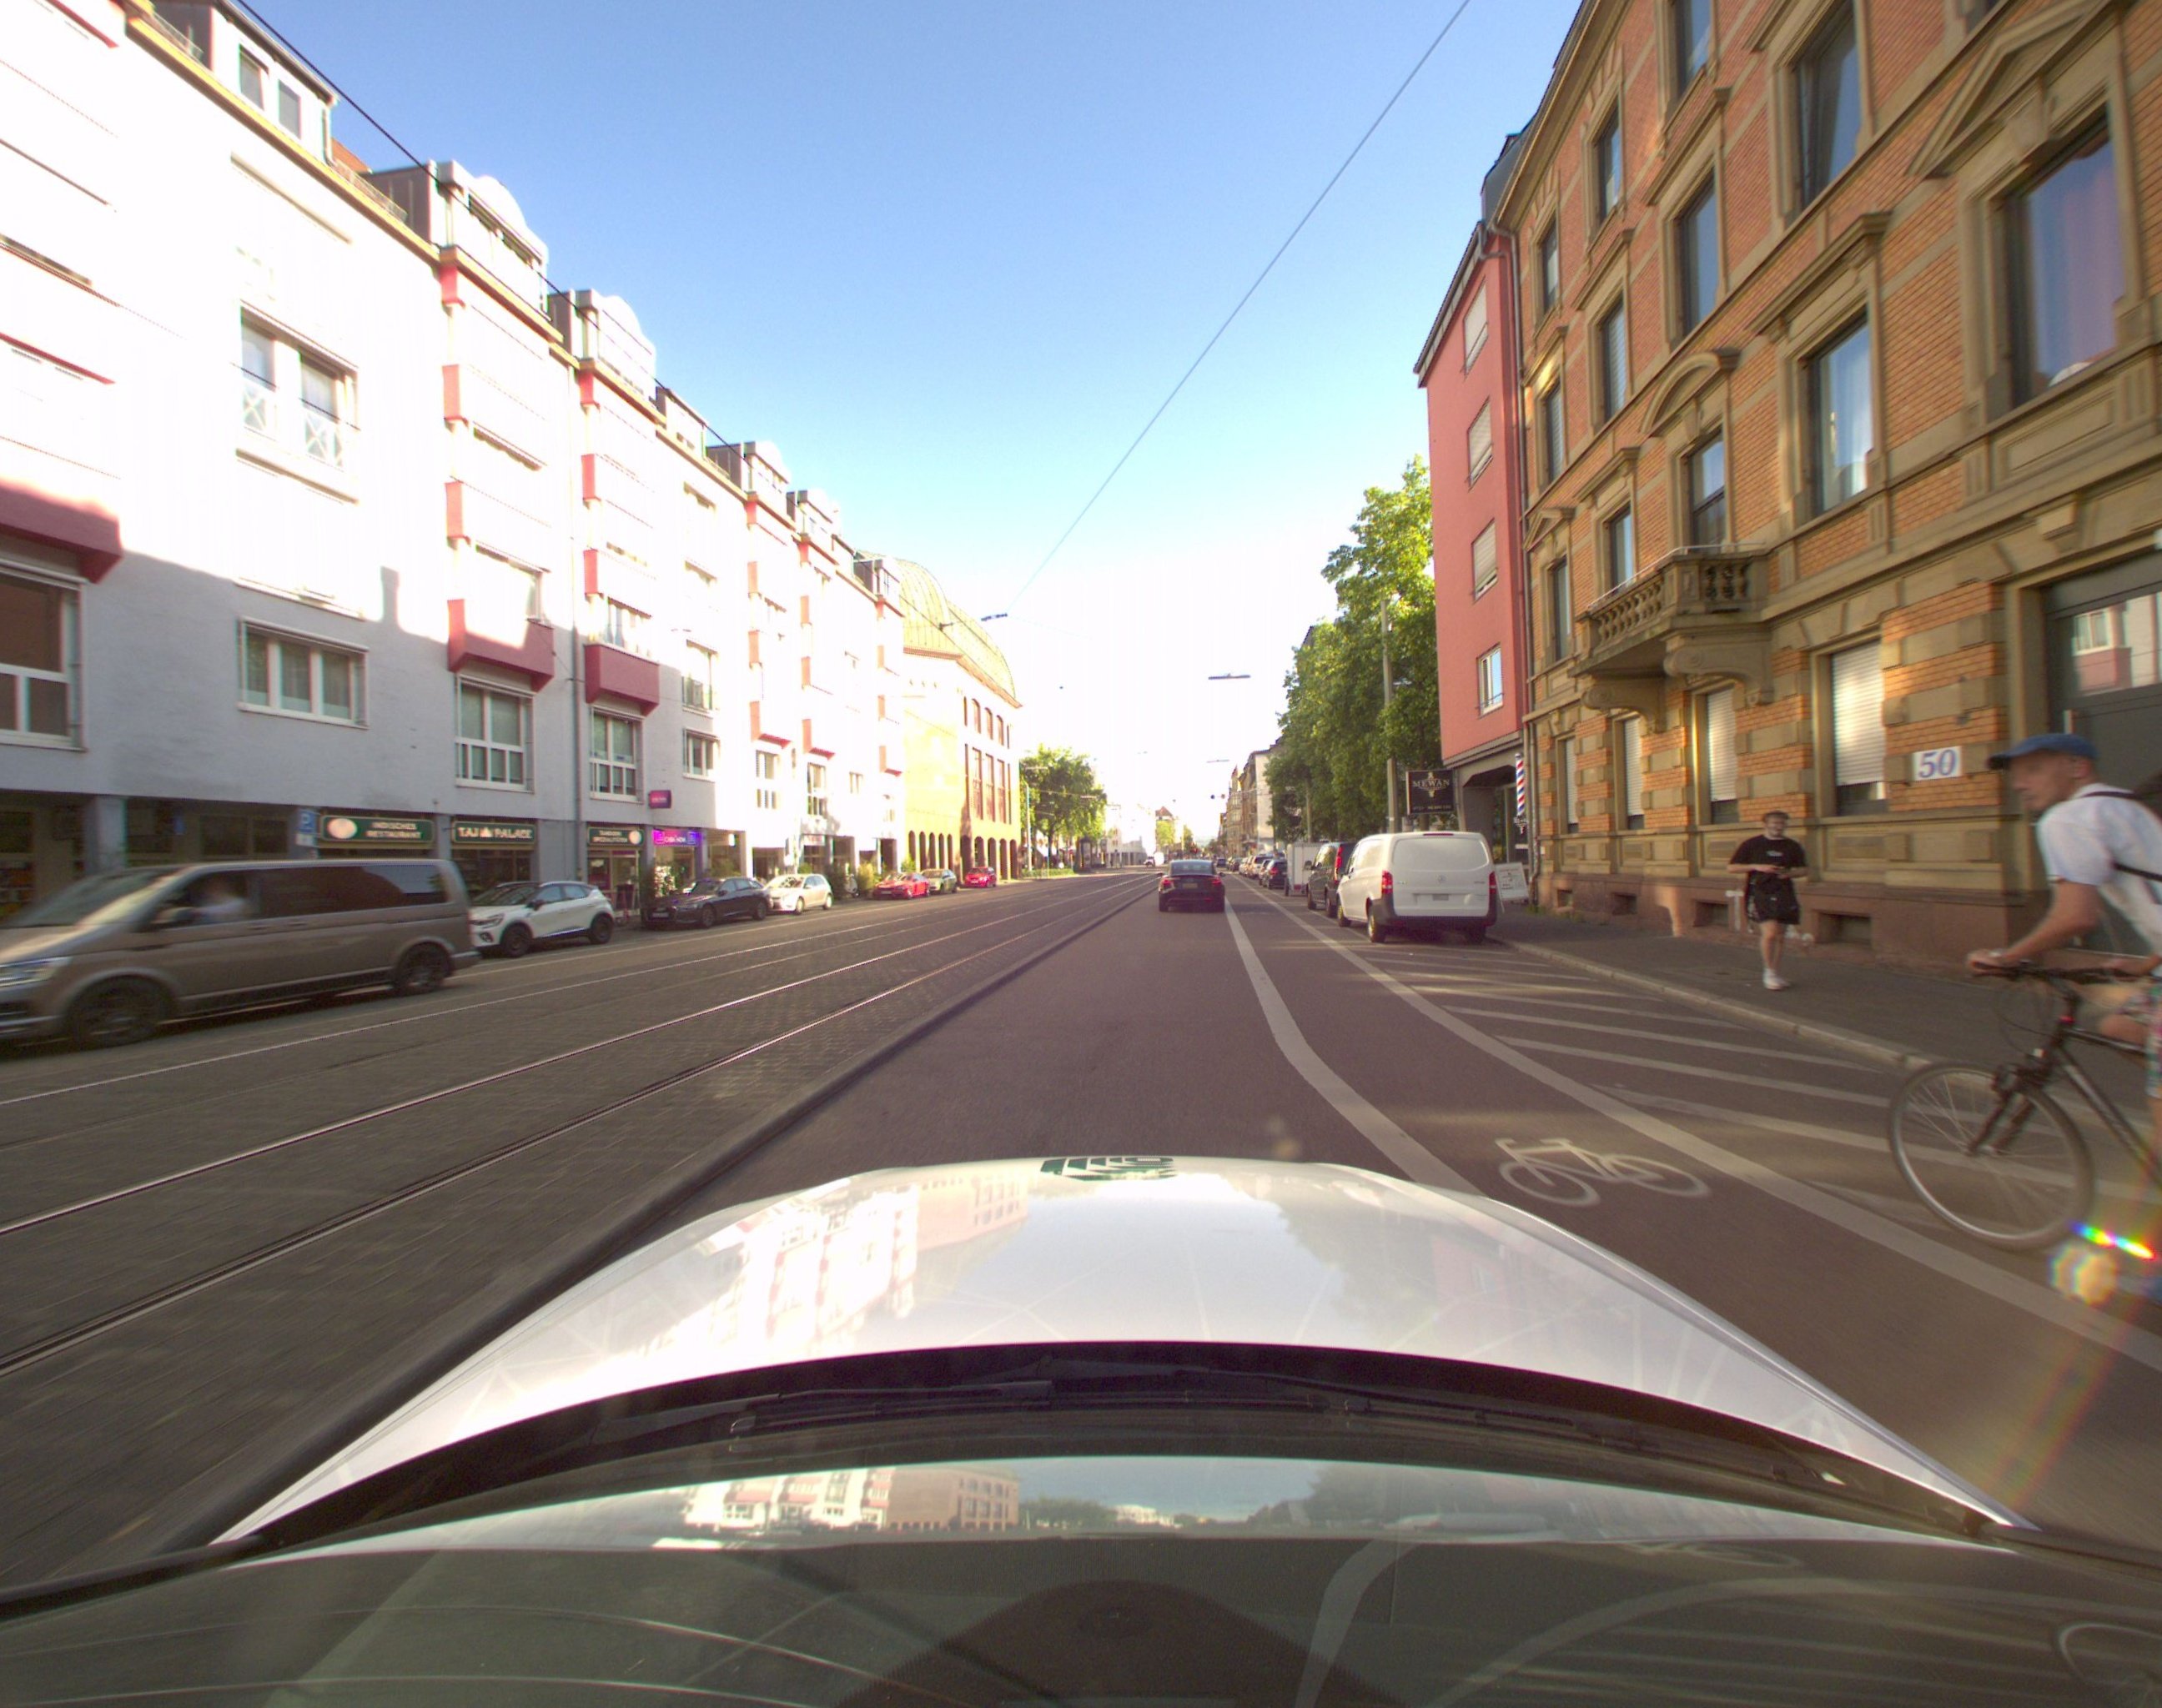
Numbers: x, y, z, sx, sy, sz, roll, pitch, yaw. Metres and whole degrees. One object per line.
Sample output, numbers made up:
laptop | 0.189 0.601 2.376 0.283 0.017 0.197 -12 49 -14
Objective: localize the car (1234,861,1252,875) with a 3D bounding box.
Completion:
car | 17.055 1.467 85.885 1.701 1.457 4.561 -1 -1 9

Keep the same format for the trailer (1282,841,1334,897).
trailer | 9.040 0.579 32.673 1.650 2.117 3.853 0 -1 10

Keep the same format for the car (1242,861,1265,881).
car | 14.231 1.368 67.386 1.533 1.570 4.452 0 -1 7

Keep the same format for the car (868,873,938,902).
car | -9.067 1.657 41.894 1.949 1.325 4.831 0 0 8

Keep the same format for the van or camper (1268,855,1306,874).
van or camper | 26.859 1.337 106.218 4.612 2.136 1.994 -5 -2 12

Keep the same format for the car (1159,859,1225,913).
car | 3.197 0.858 23.428 1.710 1.405 3.718 0 0 8

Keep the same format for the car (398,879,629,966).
car | -12.724 1.463 18.685 1.907 1.614 4.377 -2 -1 6

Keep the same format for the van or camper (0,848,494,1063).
van or camper | -10.216 0.996 9.887 1.980 1.940 4.849 -4 -1 11

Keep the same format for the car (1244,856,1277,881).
car | 13.631 1.094 61.962 1.915 1.834 4.720 -1 0 6

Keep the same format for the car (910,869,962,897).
car | -8.274 1.610 46.814 1.659 1.468 4.300 0 0 9

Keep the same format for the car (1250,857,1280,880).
car | 12.899 1.007 57.164 1.704 1.590 4.074 0 0 8

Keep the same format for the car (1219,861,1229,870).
car | 23.892 1.917 135.822 1.584 1.433 3.696 -2 -1 10

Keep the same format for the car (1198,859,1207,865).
car | 31.227 2.080 209.957 1.984 1.525 4.005 -2 -1 5

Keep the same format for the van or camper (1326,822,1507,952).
van or camper | 6.097 0.562 15.591 1.920 2.037 5.487 0 -1 8

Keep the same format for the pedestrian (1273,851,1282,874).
pedestrian | 15.829 0.665 65.623 0.607 1.808 0.605 -3 -2 13

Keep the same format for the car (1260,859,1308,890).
car | 9.935 0.990 40.120 1.793 1.435 4.332 1 -1 7

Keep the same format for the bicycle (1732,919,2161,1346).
bicycle | 3.469 0.874 2.846 0.645 1.139 2.094 -1 -1 -2

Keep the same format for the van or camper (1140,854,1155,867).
van or camper | 14.242 1.426 173.895 2.124 2.654 6.906 -2 -1 14

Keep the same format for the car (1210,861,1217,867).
car | 36.327 2.634 223.408 1.835 1.592 4.011 -3 -1 10

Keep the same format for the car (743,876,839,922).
car | -10.821 1.642 30.720 1.742 1.475 4.214 -2 -1 6

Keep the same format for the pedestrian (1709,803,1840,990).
pedestrian | 7.081 0.425 8.360 0.669 1.814 0.757 -2 -1 8

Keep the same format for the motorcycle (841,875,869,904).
motorcycle | -10.900 1.704 39.342 0.516 1.297 2.087 0 0 8

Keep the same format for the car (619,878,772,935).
car | -11.674 1.547 25.108 1.891 1.458 4.837 -2 -1 8

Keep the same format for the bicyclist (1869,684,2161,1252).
bicyclist | 3.463 0.334 2.754 0.653 1.656 0.926 -1 -1 -2

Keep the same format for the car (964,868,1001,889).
car | -6.856 1.675 56.884 1.649 1.422 3.629 0 0 9

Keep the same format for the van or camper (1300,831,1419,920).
van or camper | 7.153 0.527 21.535 1.960 2.046 5.342 0 -1 7

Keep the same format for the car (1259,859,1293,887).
car | 10.867 1.045 45.309 1.737 1.443 4.331 -1 0 14
